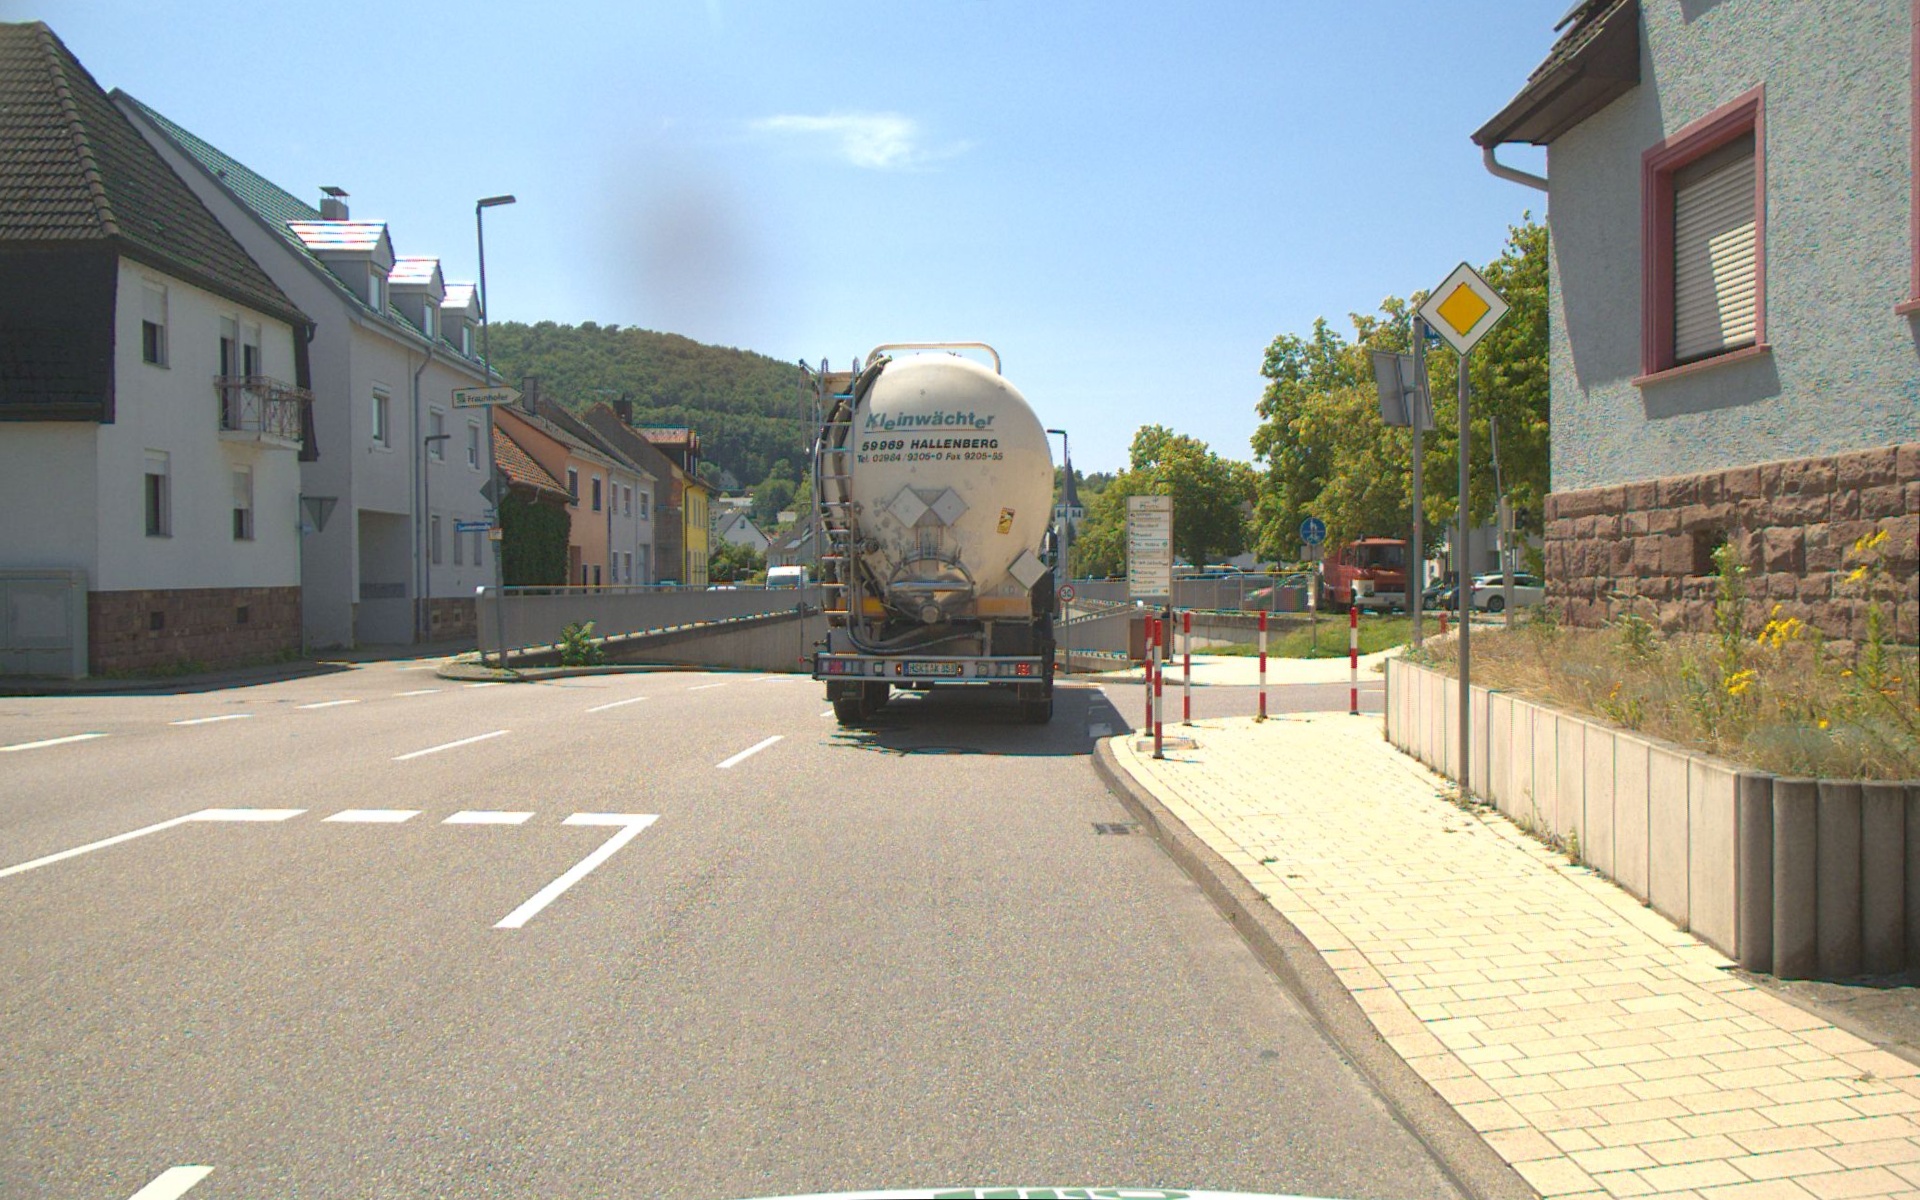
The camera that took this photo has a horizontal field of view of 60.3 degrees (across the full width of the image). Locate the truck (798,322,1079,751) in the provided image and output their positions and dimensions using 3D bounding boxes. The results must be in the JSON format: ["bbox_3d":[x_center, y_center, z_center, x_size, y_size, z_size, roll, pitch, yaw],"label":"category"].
[{"bbox_3d":[-0.428,-0.649,21.415,2.695,4.127,10.884,0,0,-2],"label":"truck"}]

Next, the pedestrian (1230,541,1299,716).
[{"bbox_3d":[3.064,0.283,16.680,0.559,1.723,0.721,1,-1,2],"label":"pedestrian"}]
